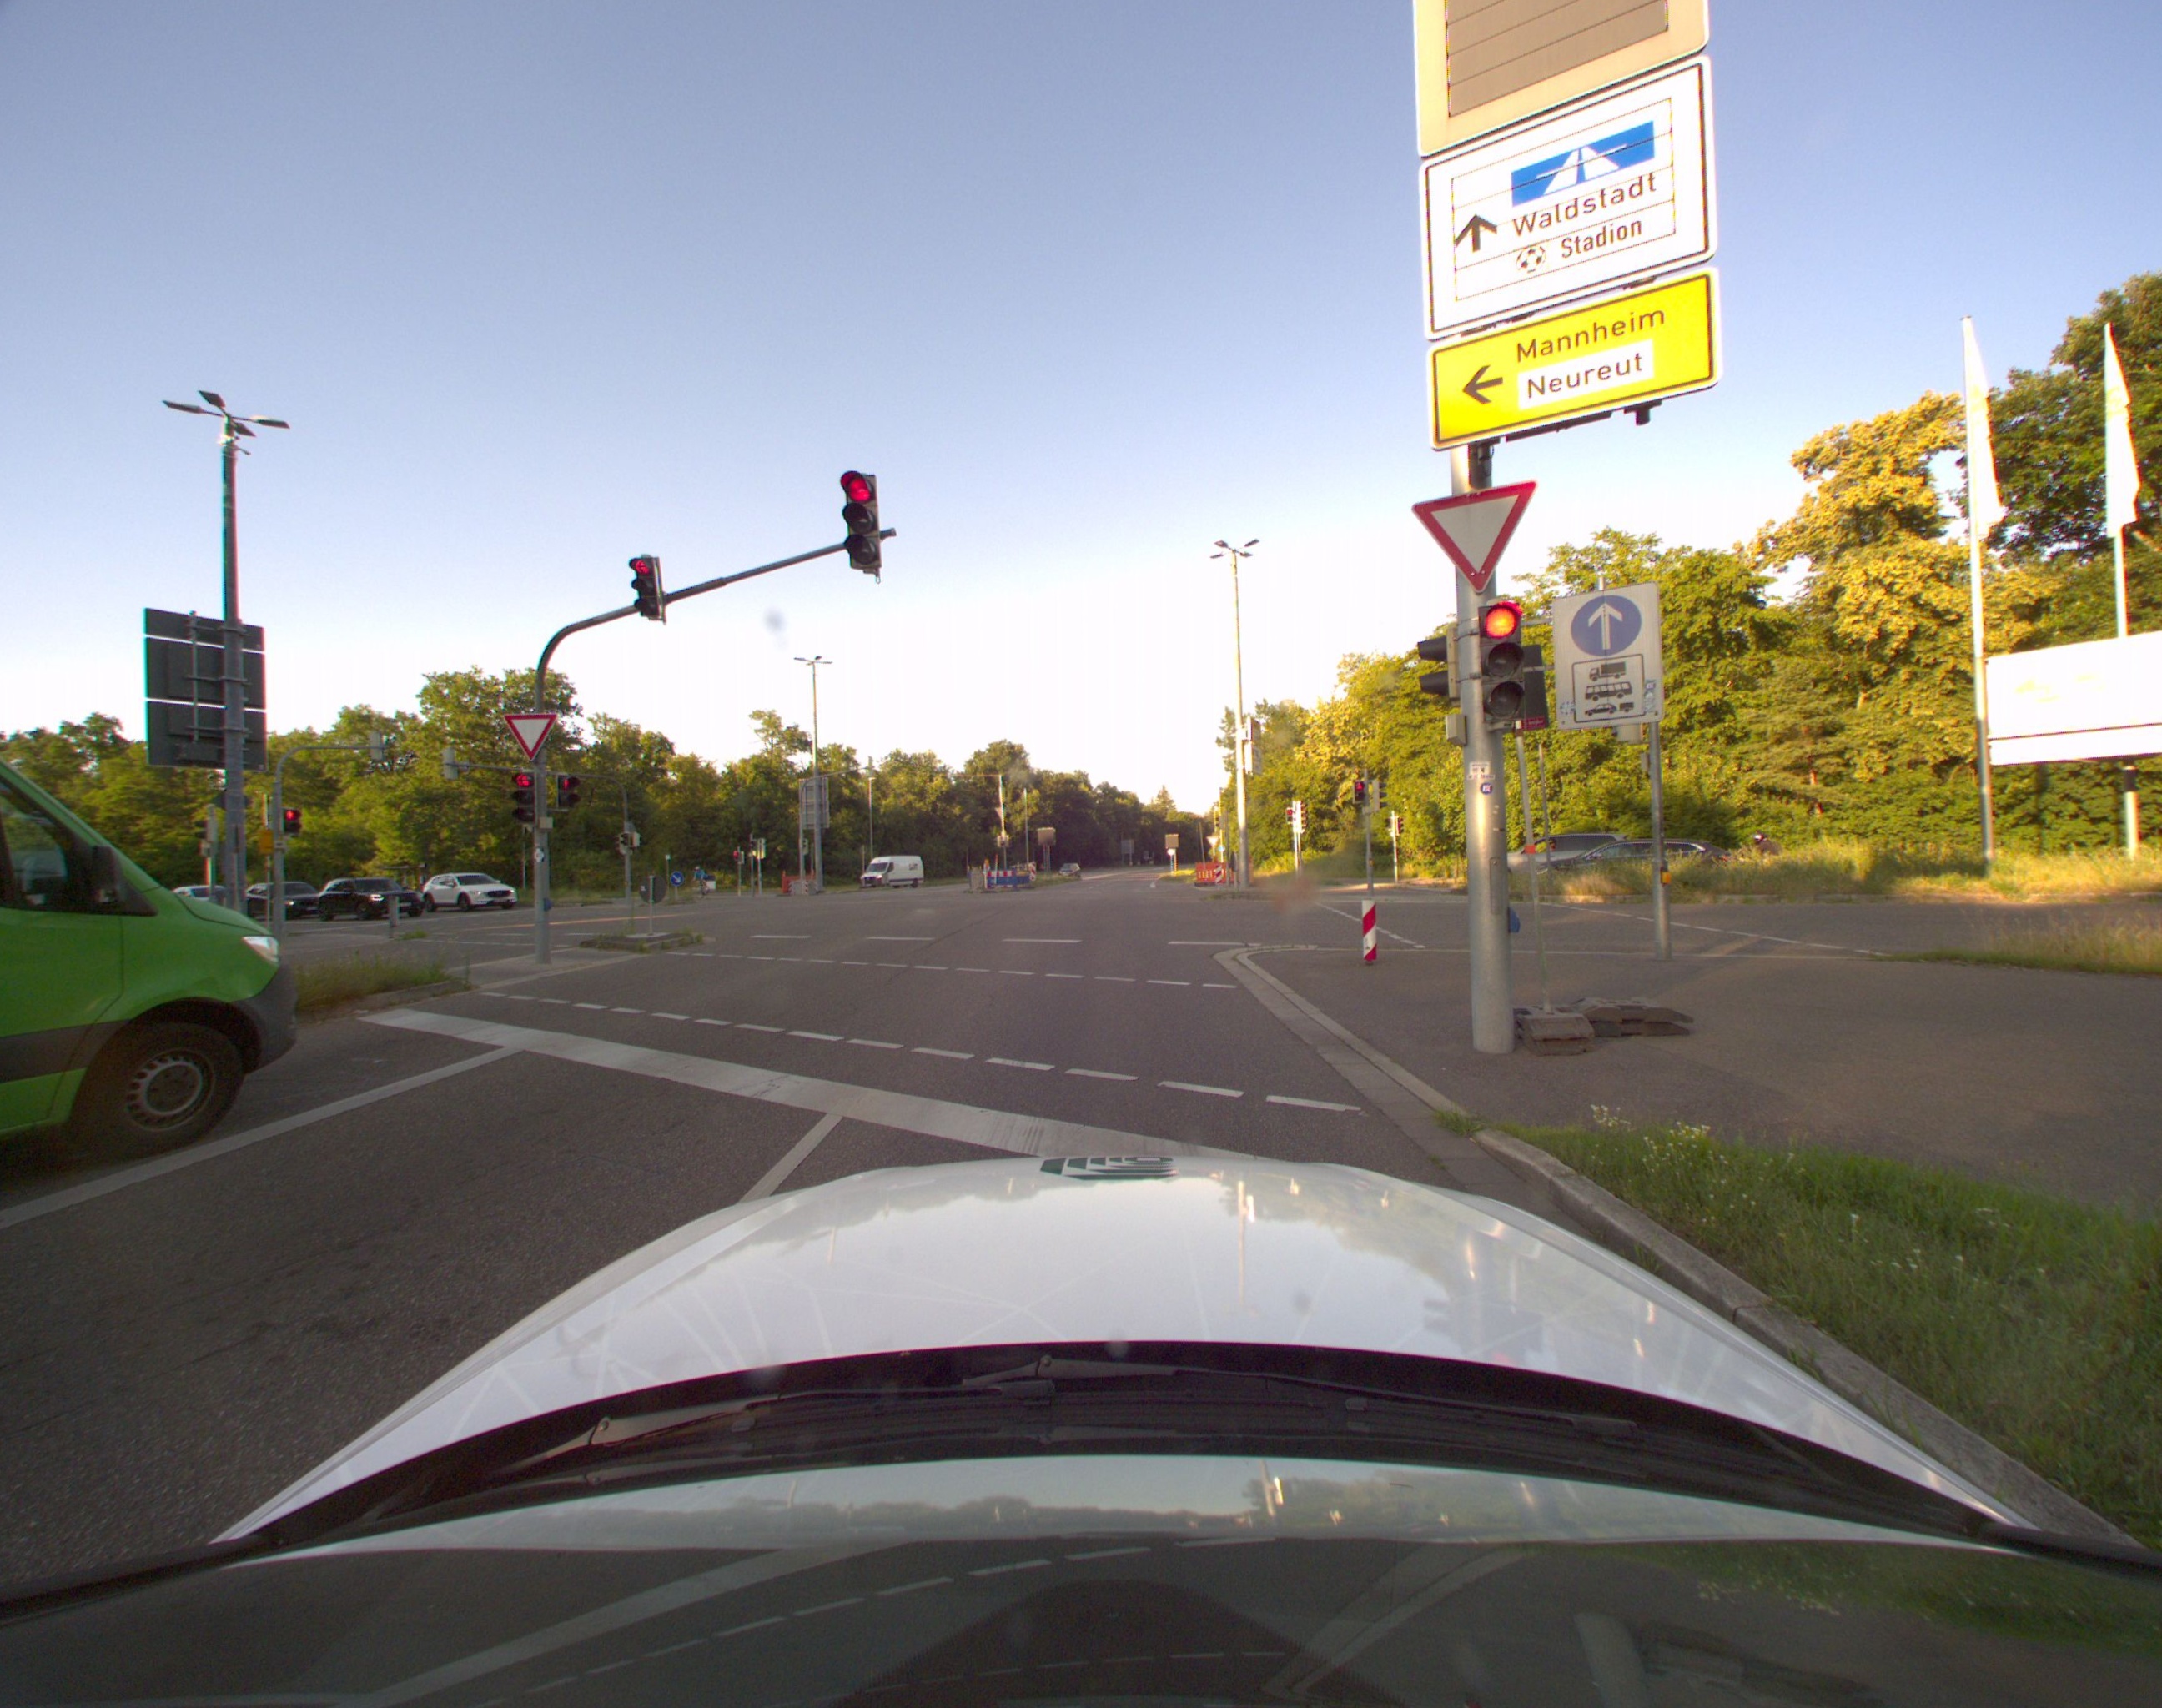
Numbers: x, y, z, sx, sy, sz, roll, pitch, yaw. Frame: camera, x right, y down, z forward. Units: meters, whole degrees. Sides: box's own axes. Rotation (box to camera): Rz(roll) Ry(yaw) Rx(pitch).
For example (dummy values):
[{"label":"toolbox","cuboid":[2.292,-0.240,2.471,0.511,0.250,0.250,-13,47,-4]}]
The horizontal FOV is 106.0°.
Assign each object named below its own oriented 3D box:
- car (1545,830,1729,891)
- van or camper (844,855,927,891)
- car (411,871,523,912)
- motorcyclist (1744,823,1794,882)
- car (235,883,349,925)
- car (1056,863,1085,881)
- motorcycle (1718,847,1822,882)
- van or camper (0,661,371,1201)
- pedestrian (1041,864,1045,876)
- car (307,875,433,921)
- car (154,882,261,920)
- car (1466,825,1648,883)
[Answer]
[{"label":"car","cuboid":[14.897,0.185,22.070,3.827,1.489,1.781,-2,0,24]},{"label":"van or camper","cuboid":[-15.351,1.437,64.599,2.861,2.652,7.157,-2,0,19]},{"label":"car","cuboid":[-26.758,1.642,35.494,4.206,1.640,2.011,-2,0,23]},{"label":"motorcyclist","cuboid":[19.349,-0.044,22.931,0.878,1.595,0.658,-2,-1,23]},{"label":"car","cuboid":[-33.924,2.155,35.029,4.205,1.640,2.011,-2,0,23]},{"label":"car","cuboid":[-1.106,1.855,86.127,1.979,1.640,4.016,-3,0,14]},{"label":"motorcycle","cuboid":[19.357,0.296,22.936,2.125,0.910,0.666,-2,-1,23]},{"label":"van or camper","cuboid":[-5.858,0.363,2.556,1.987,2.421,5.896,-2,0,1]},{"label":"pedestrian","cuboid":[-6.286,2.660,135.277,0.519,2.014,0.600,0,-1,2]},{"label":"car","cuboid":[-27.552,1.699,31.554,4.206,1.640,2.011,-2,0,23]},{"label":"car","cuboid":[-41.256,2.212,38.470,4.207,1.640,2.011,-2,0,21]},{"label":"car","cuboid":[15.031,0.026,26.072,4.773,1.598,2.011,-2,0,23]}]
